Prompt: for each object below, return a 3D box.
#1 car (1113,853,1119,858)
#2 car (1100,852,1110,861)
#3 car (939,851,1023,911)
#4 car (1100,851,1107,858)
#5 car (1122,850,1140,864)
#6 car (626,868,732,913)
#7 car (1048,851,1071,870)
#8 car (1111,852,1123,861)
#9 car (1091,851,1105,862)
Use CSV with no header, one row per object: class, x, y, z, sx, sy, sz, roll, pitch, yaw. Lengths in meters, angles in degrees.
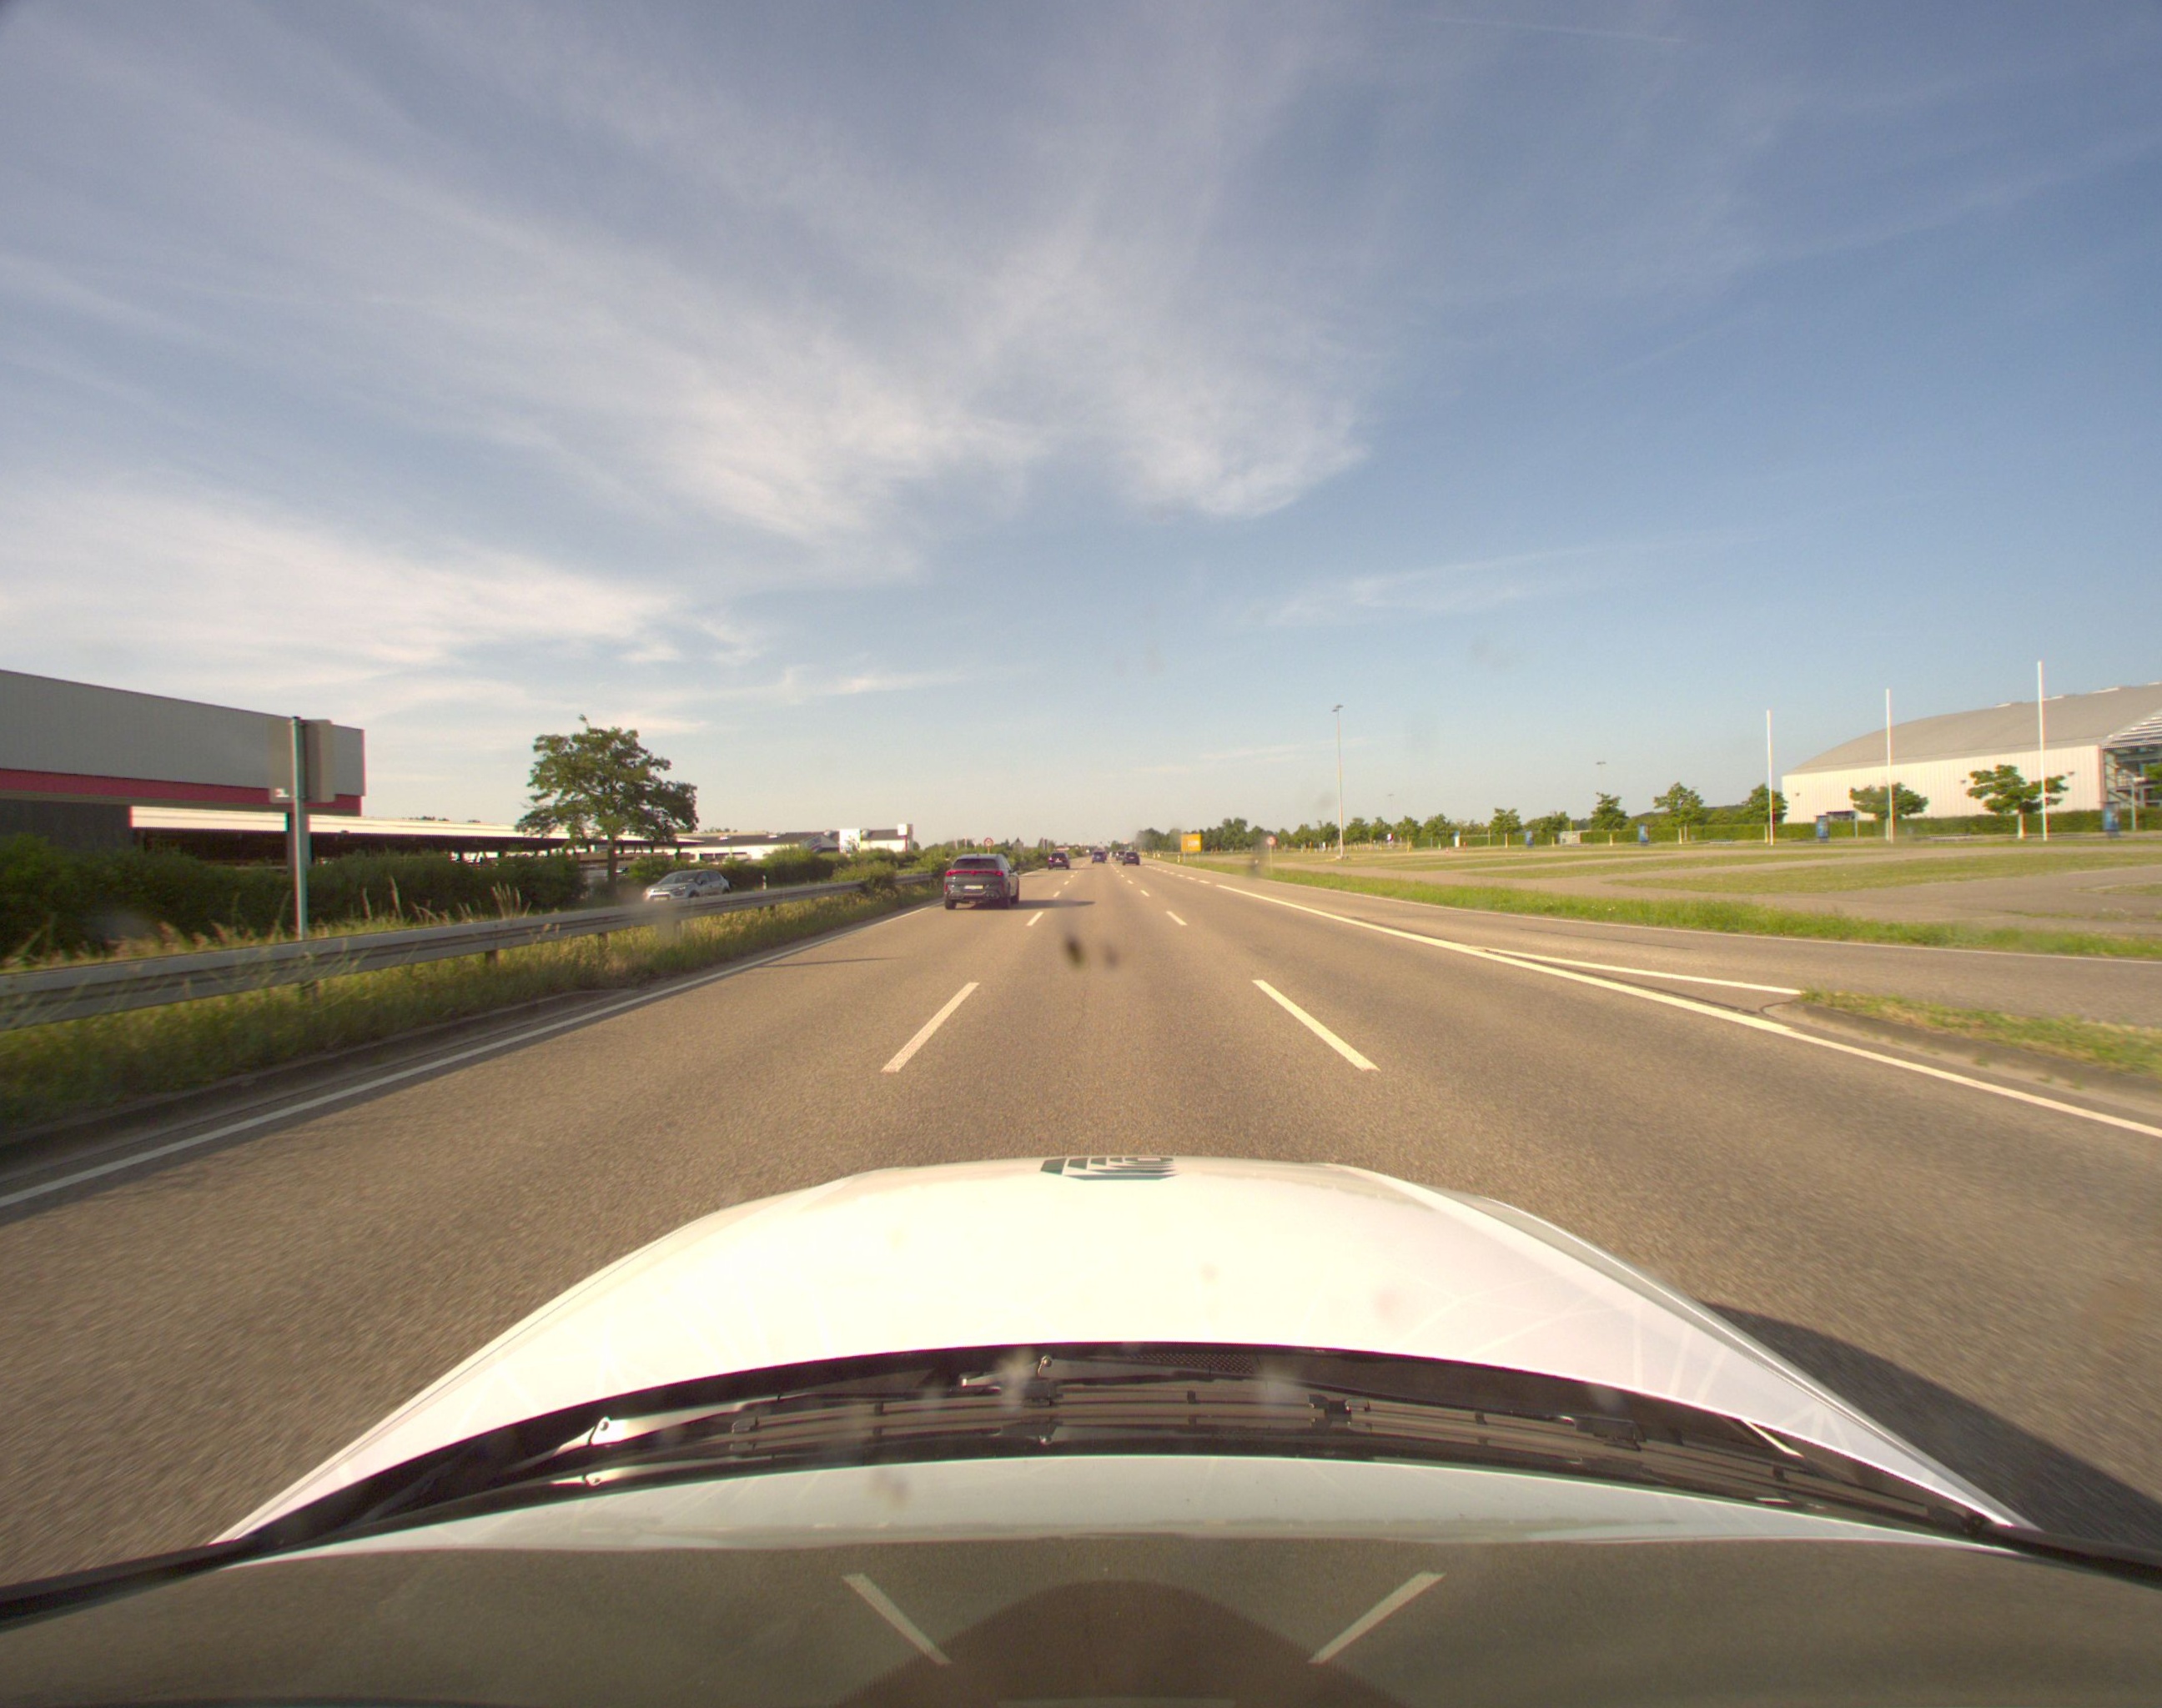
car,8.781,0.445,203.260,1.497,1.313,3.157,1,0,2
car,4.010,0.434,136.640,1.641,1.463,3.982,1,0,2
car,-2.903,0.739,24.529,1.839,1.612,4.402,1,0,2
car,5.323,0.165,193.707,1.639,1.728,3.402,0,-1,1
car,5.852,0.339,95.917,1.925,1.680,4.402,1,0,2
car,-14.705,1.288,30.058,1.772,1.424,4.002,-2,0,2
car,-2.049,0.591,77.852,1.925,1.680,4.402,1,0,2
car,5.841,0.453,132.700,1.866,1.463,3.982,1,0,2
car,2.346,0.381,112.432,1.806,1.463,4.402,1,0,2
